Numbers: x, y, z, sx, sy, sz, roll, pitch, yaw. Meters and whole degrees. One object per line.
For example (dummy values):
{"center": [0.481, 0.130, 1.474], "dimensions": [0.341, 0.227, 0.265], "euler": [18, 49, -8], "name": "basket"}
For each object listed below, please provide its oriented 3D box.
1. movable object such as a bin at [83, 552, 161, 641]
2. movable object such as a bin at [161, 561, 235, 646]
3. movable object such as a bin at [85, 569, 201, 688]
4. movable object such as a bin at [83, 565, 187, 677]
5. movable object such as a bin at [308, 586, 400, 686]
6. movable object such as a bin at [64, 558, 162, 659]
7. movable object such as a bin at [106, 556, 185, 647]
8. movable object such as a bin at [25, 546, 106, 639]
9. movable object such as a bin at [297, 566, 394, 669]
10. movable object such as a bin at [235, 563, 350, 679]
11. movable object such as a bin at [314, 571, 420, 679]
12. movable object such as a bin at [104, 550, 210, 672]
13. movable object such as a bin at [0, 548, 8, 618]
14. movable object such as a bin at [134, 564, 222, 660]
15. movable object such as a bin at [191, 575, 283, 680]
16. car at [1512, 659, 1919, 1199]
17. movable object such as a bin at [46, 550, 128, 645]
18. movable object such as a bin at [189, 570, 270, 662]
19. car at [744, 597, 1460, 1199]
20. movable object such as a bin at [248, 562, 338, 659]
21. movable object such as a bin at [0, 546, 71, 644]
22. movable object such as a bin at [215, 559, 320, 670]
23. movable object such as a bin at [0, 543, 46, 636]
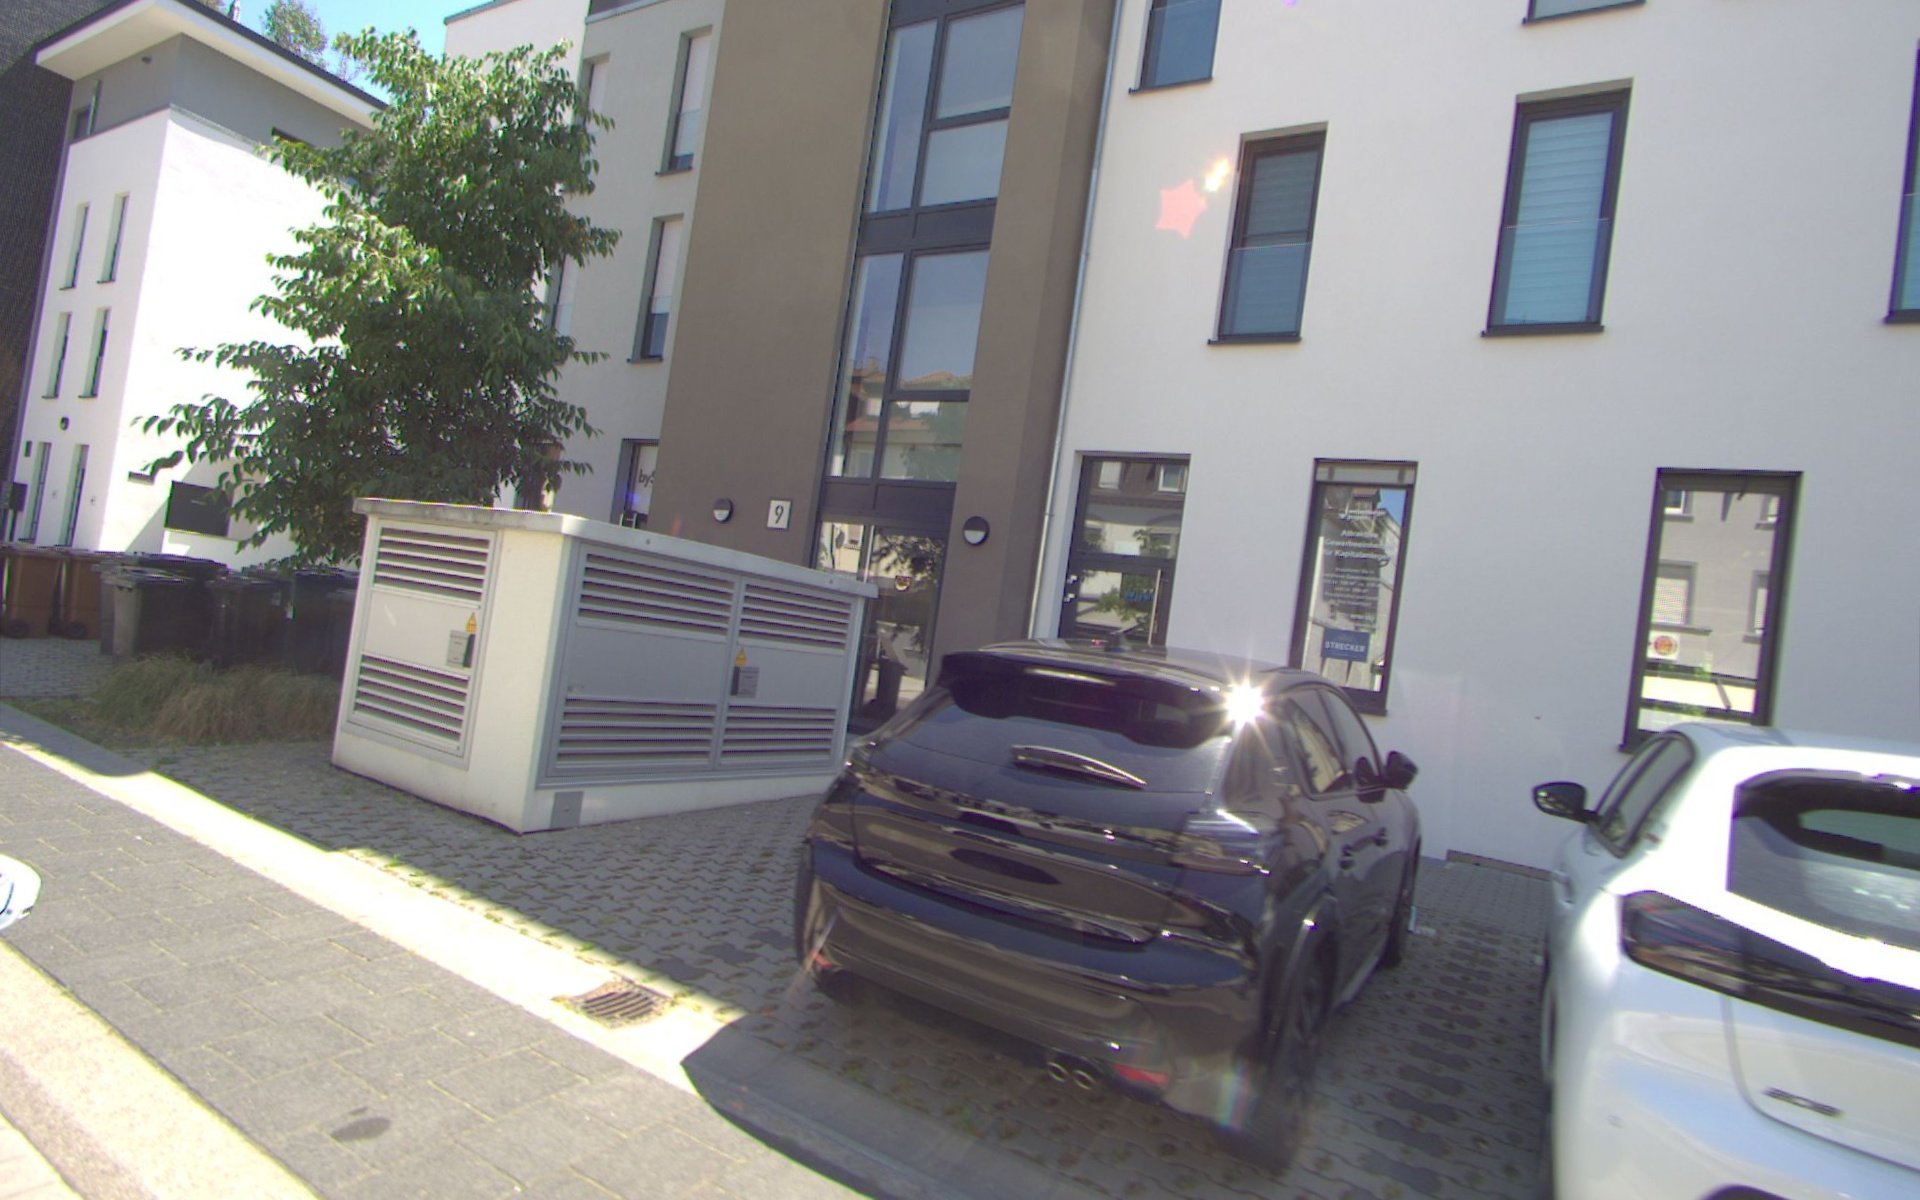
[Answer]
{"center": [-9.666, -0.041, 11.602], "dimensions": [0.519, 0.942, 0.474], "euler": [7, 0, 31], "name": "movable object such as a bin"}
{"center": [-9.169, 0.045, 12.103], "dimensions": [0.519, 0.942, 0.474], "euler": [7, 0, 31], "name": "movable object such as a bin"}
{"center": [-7.001, 0.250, 8.629], "dimensions": [0.457, 0.942, 0.562], "euler": [7, 0, 26], "name": "movable object such as a bin"}
{"center": [-7.492, 0.197, 9.141], "dimensions": [0.457, 0.942, 0.513], "euler": [7, 0, 26], "name": "movable object such as a bin"}
{"center": [-6.151, 0.369, 10.221], "dimensions": [0.457, 0.942, 0.562], "euler": [7, 0, 26], "name": "movable object such as a bin"}
{"center": [-8.428, 0.090, 10.027], "dimensions": [0.429, 0.935, 0.517], "euler": [7, 0, 9], "name": "movable object such as a bin"}
{"center": [-9.187, 0.015, 11.350], "dimensions": [0.513, 0.942, 0.466], "euler": [7, 0, 31], "name": "movable object such as a bin"}
{"center": [-9.934, -0.082, 11.174], "dimensions": [0.519, 0.942, 0.474], "euler": [7, 0, 31], "name": "movable object such as a bin"}
{"center": [-6.973, 0.207, 11.420], "dimensions": [0.615, 1.073, 0.646], "euler": [7, 0, 33], "name": "movable object such as a bin"}
{"center": [-6.780, 0.222, 10.239], "dimensions": [0.613, 1.073, 0.648], "euler": [7, 0, 19], "name": "movable object such as a bin"}
{"center": [-6.428, 0.272, 10.920], "dimensions": [0.613, 1.073, 0.648], "euler": [7, 0, 19], "name": "movable object such as a bin"}
{"center": [-7.684, 0.113, 9.634], "dimensions": [0.551, 1.073, 0.569], "euler": [7, 0, 33], "name": "movable object such as a bin"}
{"center": [-9.946, -0.082, 10.031], "dimensions": [0.519, 0.942, 0.468], "euler": [7, 0, 31], "name": "movable object such as a bin"}
{"center": [-8.174, 0.133, 10.523], "dimensions": [0.429, 0.935, 0.483], "euler": [7, 0, 9], "name": "movable object such as a bin"}
{"center": [-6.965, 0.266, 9.702], "dimensions": [0.459, 0.942, 0.485], "euler": [7, 0, 26], "name": "movable object such as a bin"}
{"center": [2.909, 1.146, 3.322], "dimensions": [1.748, 1.499, 3.818], "euler": [7, -2, 29], "name": "car"}
{"center": [-9.452, -0.021, 10.893], "dimensions": [0.513, 0.942, 0.466], "euler": [7, 0, 31], "name": "movable object such as a bin"}
{"center": [-7.987, 0.176, 11.012], "dimensions": [0.429, 0.935, 0.483], "euler": [7, 0, 9], "name": "movable object such as a bin"}
{"center": [1.005, 0.935, 4.299], "dimensions": [1.510, 1.463, 3.661], "euler": [7, -1, 33], "name": "car"}
{"center": [-7.807, 0.132, 11.795], "dimensions": [0.550, 1.054, 0.571], "euler": [7, 0, 18], "name": "movable object such as a bin"}
{"center": [-9.702, -0.052, 10.470], "dimensions": [0.513, 0.942, 0.466], "euler": [7, 0, 31], "name": "movable object such as a bin"}
{"center": [-7.358, 0.160, 10.699], "dimensions": [0.615, 1.073, 0.646], "euler": [7, 0, 33], "name": "movable object such as a bin"}
{"center": [-10.199, -0.123, 10.721], "dimensions": [0.519, 0.942, 0.474], "euler": [7, 0, 31], "name": "movable object such as a bin"}
